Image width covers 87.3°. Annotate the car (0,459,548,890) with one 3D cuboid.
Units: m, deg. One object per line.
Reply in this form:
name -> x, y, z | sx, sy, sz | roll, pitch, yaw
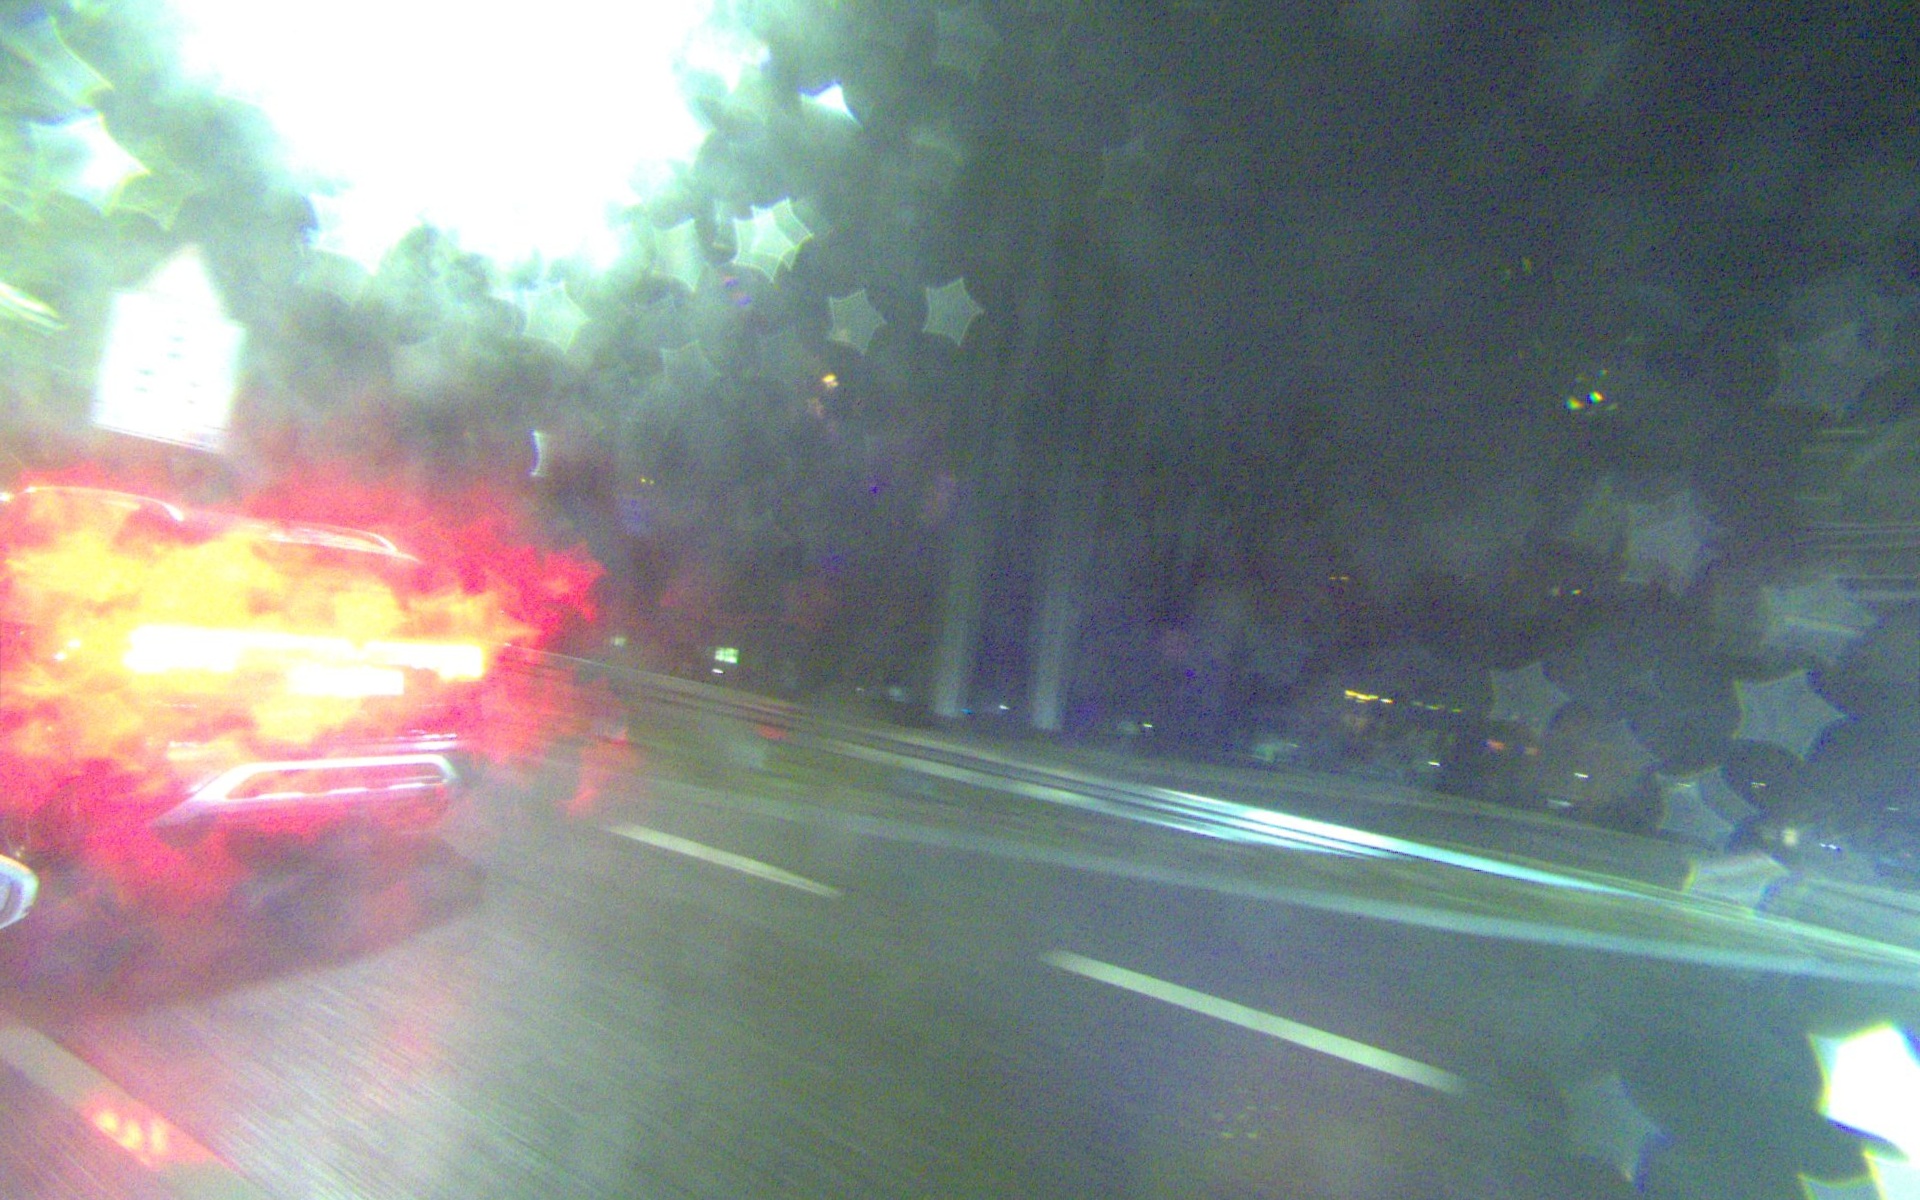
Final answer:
car -> -4.315, 0.226, 5.274 | 3.891, 1.537, 1.684 | 5, -5, 27
